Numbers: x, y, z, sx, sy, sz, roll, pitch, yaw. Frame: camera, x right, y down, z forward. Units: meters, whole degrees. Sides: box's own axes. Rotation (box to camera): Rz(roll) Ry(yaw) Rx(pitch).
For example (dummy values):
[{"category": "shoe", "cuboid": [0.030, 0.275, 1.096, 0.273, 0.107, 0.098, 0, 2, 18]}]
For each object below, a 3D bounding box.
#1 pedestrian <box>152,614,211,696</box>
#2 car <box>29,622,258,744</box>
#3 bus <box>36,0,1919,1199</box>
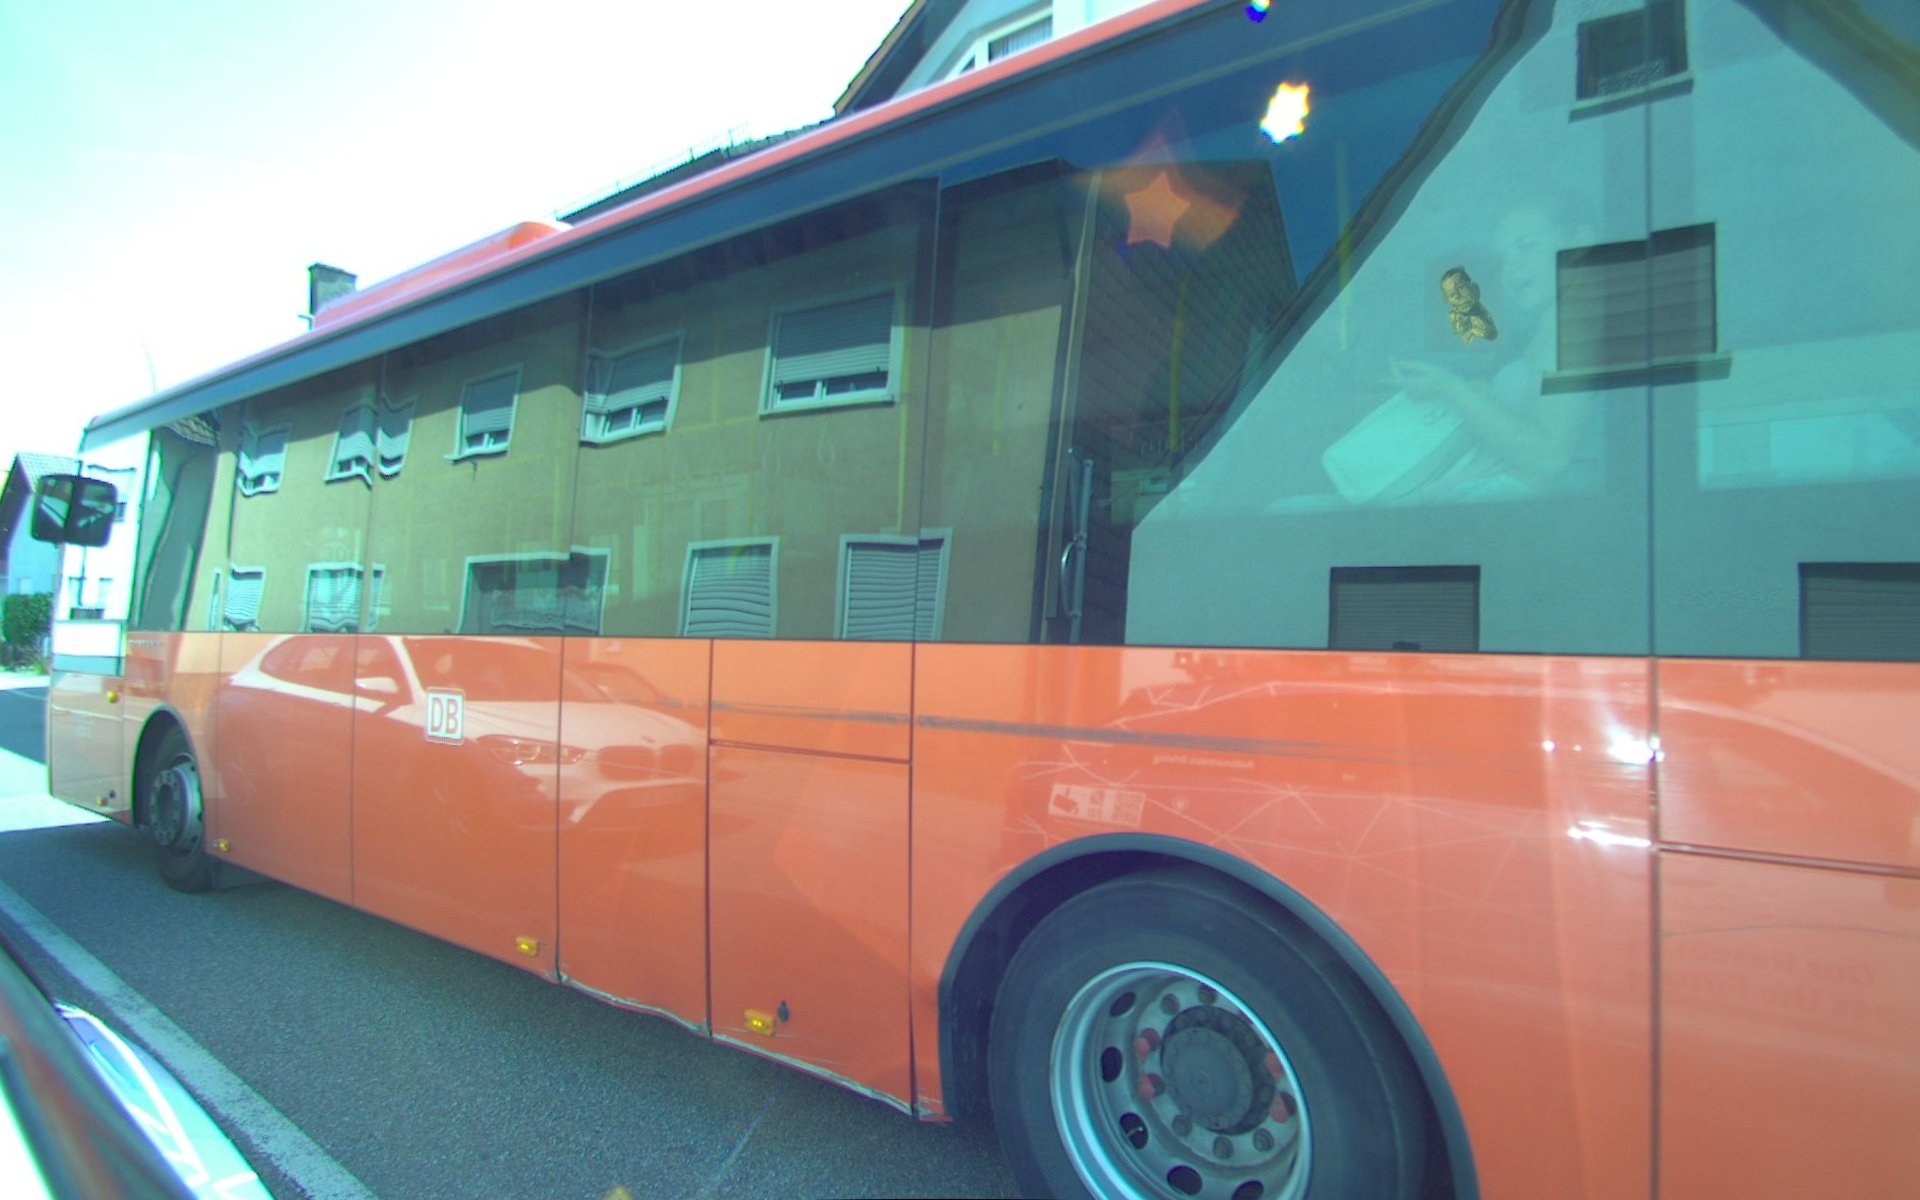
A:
[{"category": "pedestrian", "cuboid": [-15.822, 1.087, 20.565, 0.956, 1.595, 0.748, -1, 0, 39]}, {"category": "car", "cuboid": [-12.534, 1.151, 15.468, 3.992, 1.527, 1.728, -1, 2, 36]}, {"category": "bus", "cuboid": [-0.678, -0.056, 4.435, 12.000, 3.257, 2.602, -1, -4, 37]}]
